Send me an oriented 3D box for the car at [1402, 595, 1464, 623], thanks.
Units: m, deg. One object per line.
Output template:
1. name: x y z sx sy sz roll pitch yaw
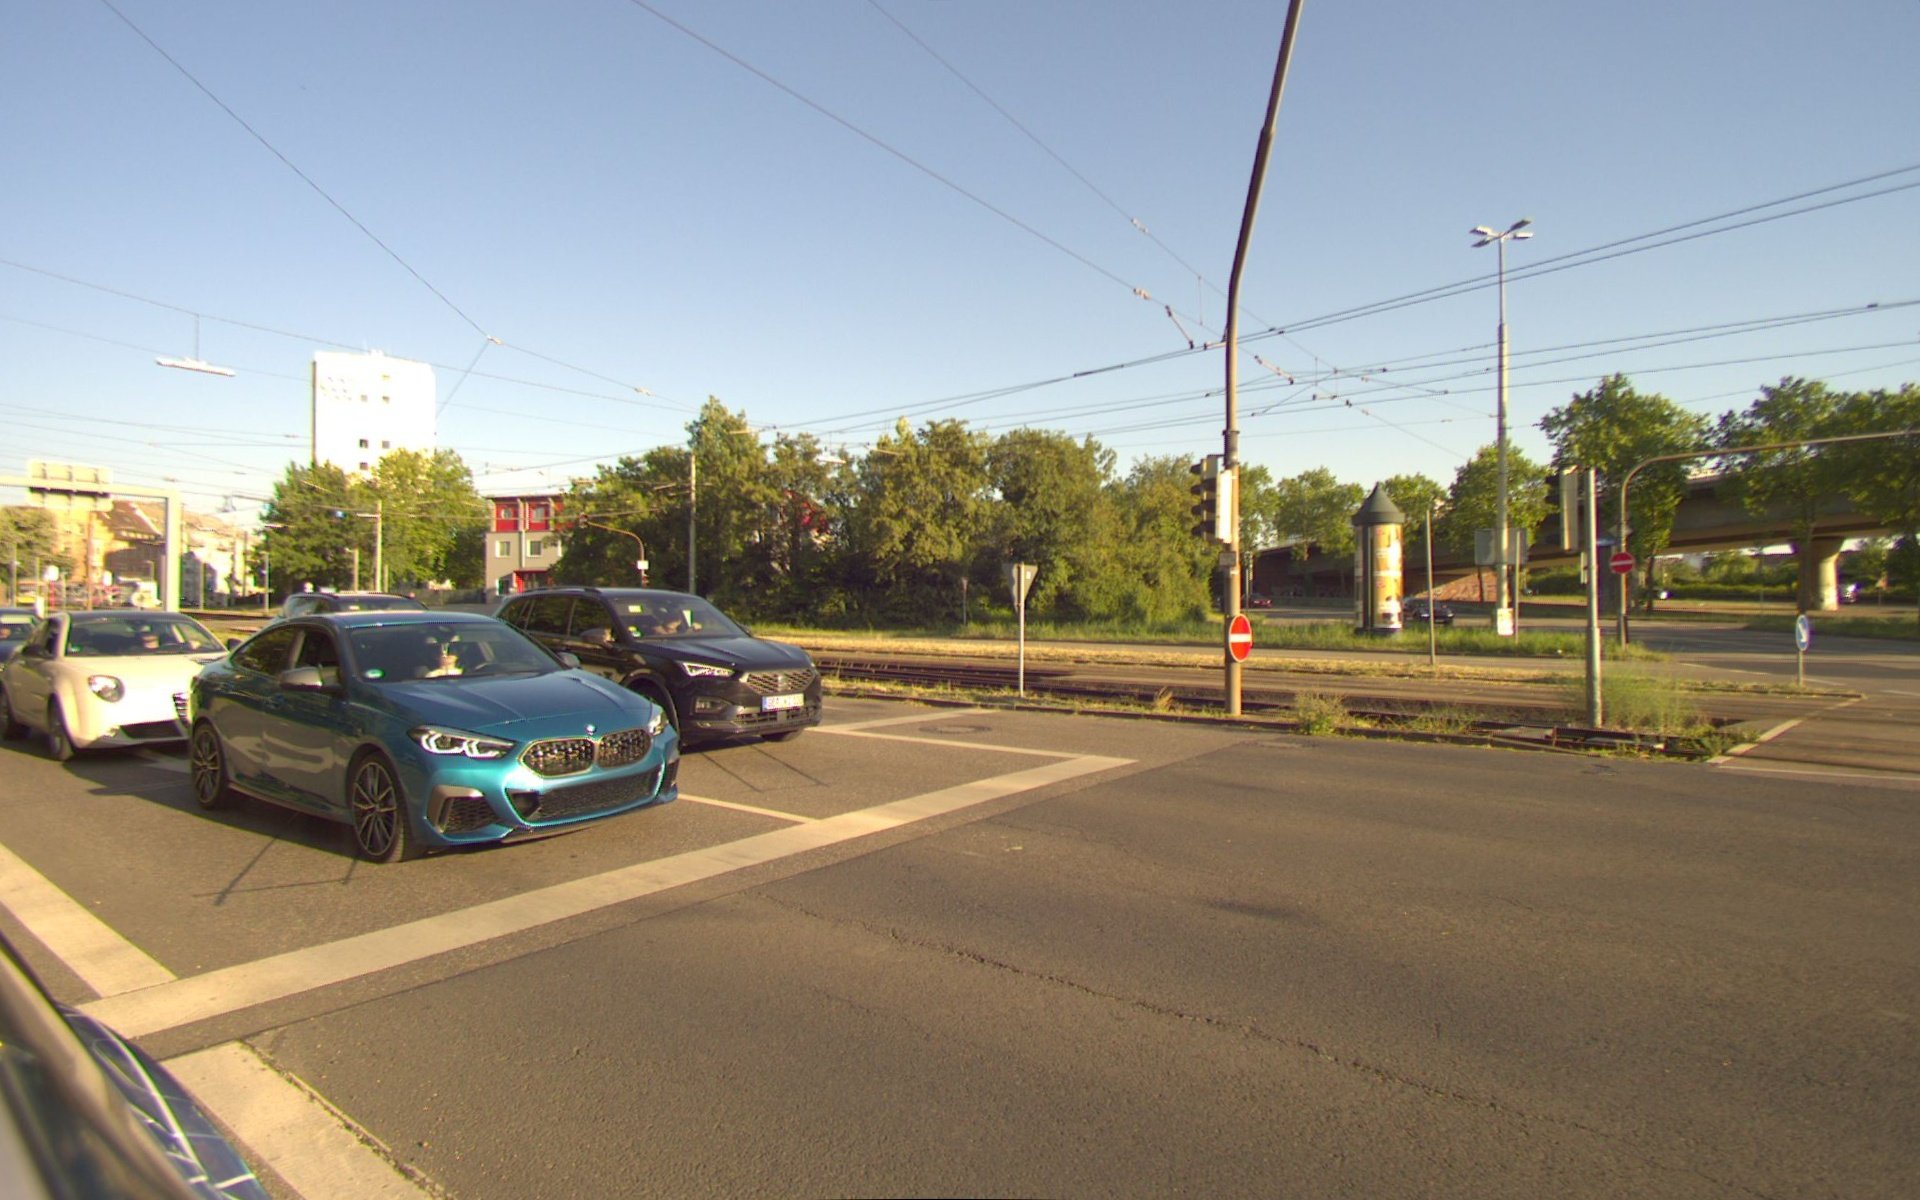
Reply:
1. car: 27.142 0.556 58.209 1.975 1.497 3.993 0 -2 5

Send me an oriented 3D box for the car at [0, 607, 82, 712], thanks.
1. car: -14.782 0.833 15.131 3.918 1.441 1.760 0 0 37

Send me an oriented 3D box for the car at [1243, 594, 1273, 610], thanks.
1. car: 29.819 0.242 101.389 1.974 1.497 3.996 0 -2 3

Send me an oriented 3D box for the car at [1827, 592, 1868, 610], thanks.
1. car: 86.716 0.049 98.940 1.991 1.635 4.492 0 1 28

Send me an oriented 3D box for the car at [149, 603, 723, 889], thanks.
1. car: -3.850 0.739 7.110 4.504 1.428 1.768 0 0 36

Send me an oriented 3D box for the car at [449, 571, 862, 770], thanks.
1. car: -3.372 0.614 10.782 4.594 1.694 1.898 0 0 37

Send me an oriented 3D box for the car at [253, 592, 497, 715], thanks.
1. car: -9.268 0.727 15.870 4.598 1.661 1.896 0 0 40

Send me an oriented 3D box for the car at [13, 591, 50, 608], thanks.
1. car: -114.031 -0.110 124.320 1.965 2.029 4.013 0 0 -20

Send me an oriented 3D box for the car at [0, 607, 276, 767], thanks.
1. car: -9.124 0.797 10.999 3.918 1.441 1.645 0 0 37
